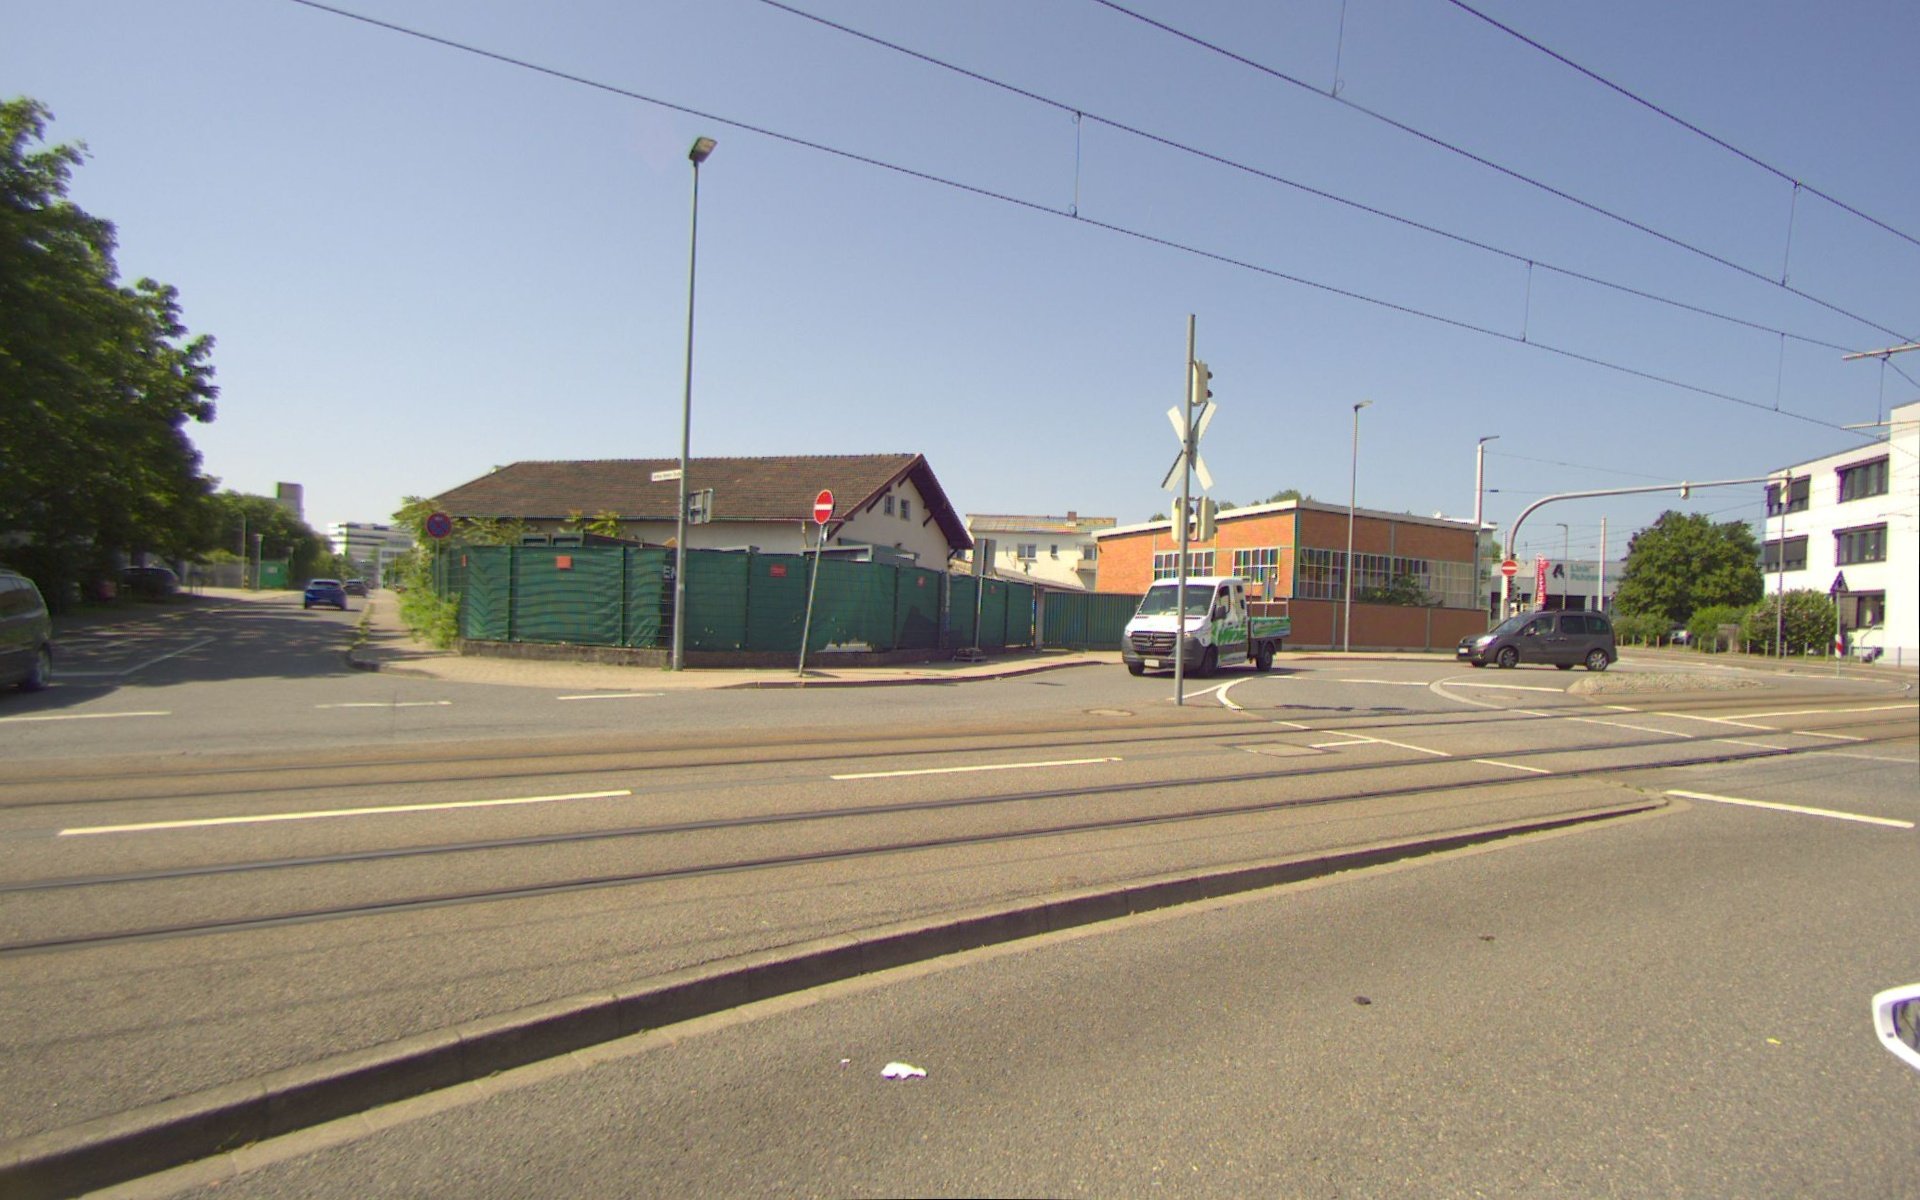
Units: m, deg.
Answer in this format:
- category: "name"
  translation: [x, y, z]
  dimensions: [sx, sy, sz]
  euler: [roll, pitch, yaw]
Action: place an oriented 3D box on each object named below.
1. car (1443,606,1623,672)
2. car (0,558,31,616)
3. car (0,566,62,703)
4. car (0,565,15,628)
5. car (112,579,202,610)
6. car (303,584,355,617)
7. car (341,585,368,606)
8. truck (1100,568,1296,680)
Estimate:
- category: "car"
  translation: [17.453, 1.155, 30.782]
  dimensions: [4.320, 1.842, 1.991]
  euler: [2, 0, 5]
- category: "car"
  translation: [-29.028, -0.417, 28.422]
  dimensions: [3.830, 1.659, 1.609]
  euler: [2, 0, -36]
- category: "car"
  translation: [-12.398, 0.392, 11.769]
  dimensions: [1.910, 1.604, 4.158]
  euler: [2, 1, -30]
- category: "car"
  translation: [-24.176, -0.127, 22.724]
  dimensions: [1.599, 1.486, 3.854]
  euler: [1, 0, 36]
- category: "car"
  translation: [-44.329, -0.284, 55.546]
  dimensions: [3.654, 1.628, 1.560]
  euler: [2, 0, -32]
- category: "car"
  translation: [-31.099, 0.019, 49.599]
  dimensions: [1.784, 1.557, 4.132]
  euler: [2, 0, -28]
- category: "car"
  translation: [-51.521, -0.383, 85.474]
  dimensions: [1.784, 1.623, 3.969]
  euler: [2, -1, -29]
- category: "truck"
  translation: [5.956, 0.556, 24.349]
  dimensions: [2.175, 2.368, 6.364]
  euler: [1, 0, 38]
